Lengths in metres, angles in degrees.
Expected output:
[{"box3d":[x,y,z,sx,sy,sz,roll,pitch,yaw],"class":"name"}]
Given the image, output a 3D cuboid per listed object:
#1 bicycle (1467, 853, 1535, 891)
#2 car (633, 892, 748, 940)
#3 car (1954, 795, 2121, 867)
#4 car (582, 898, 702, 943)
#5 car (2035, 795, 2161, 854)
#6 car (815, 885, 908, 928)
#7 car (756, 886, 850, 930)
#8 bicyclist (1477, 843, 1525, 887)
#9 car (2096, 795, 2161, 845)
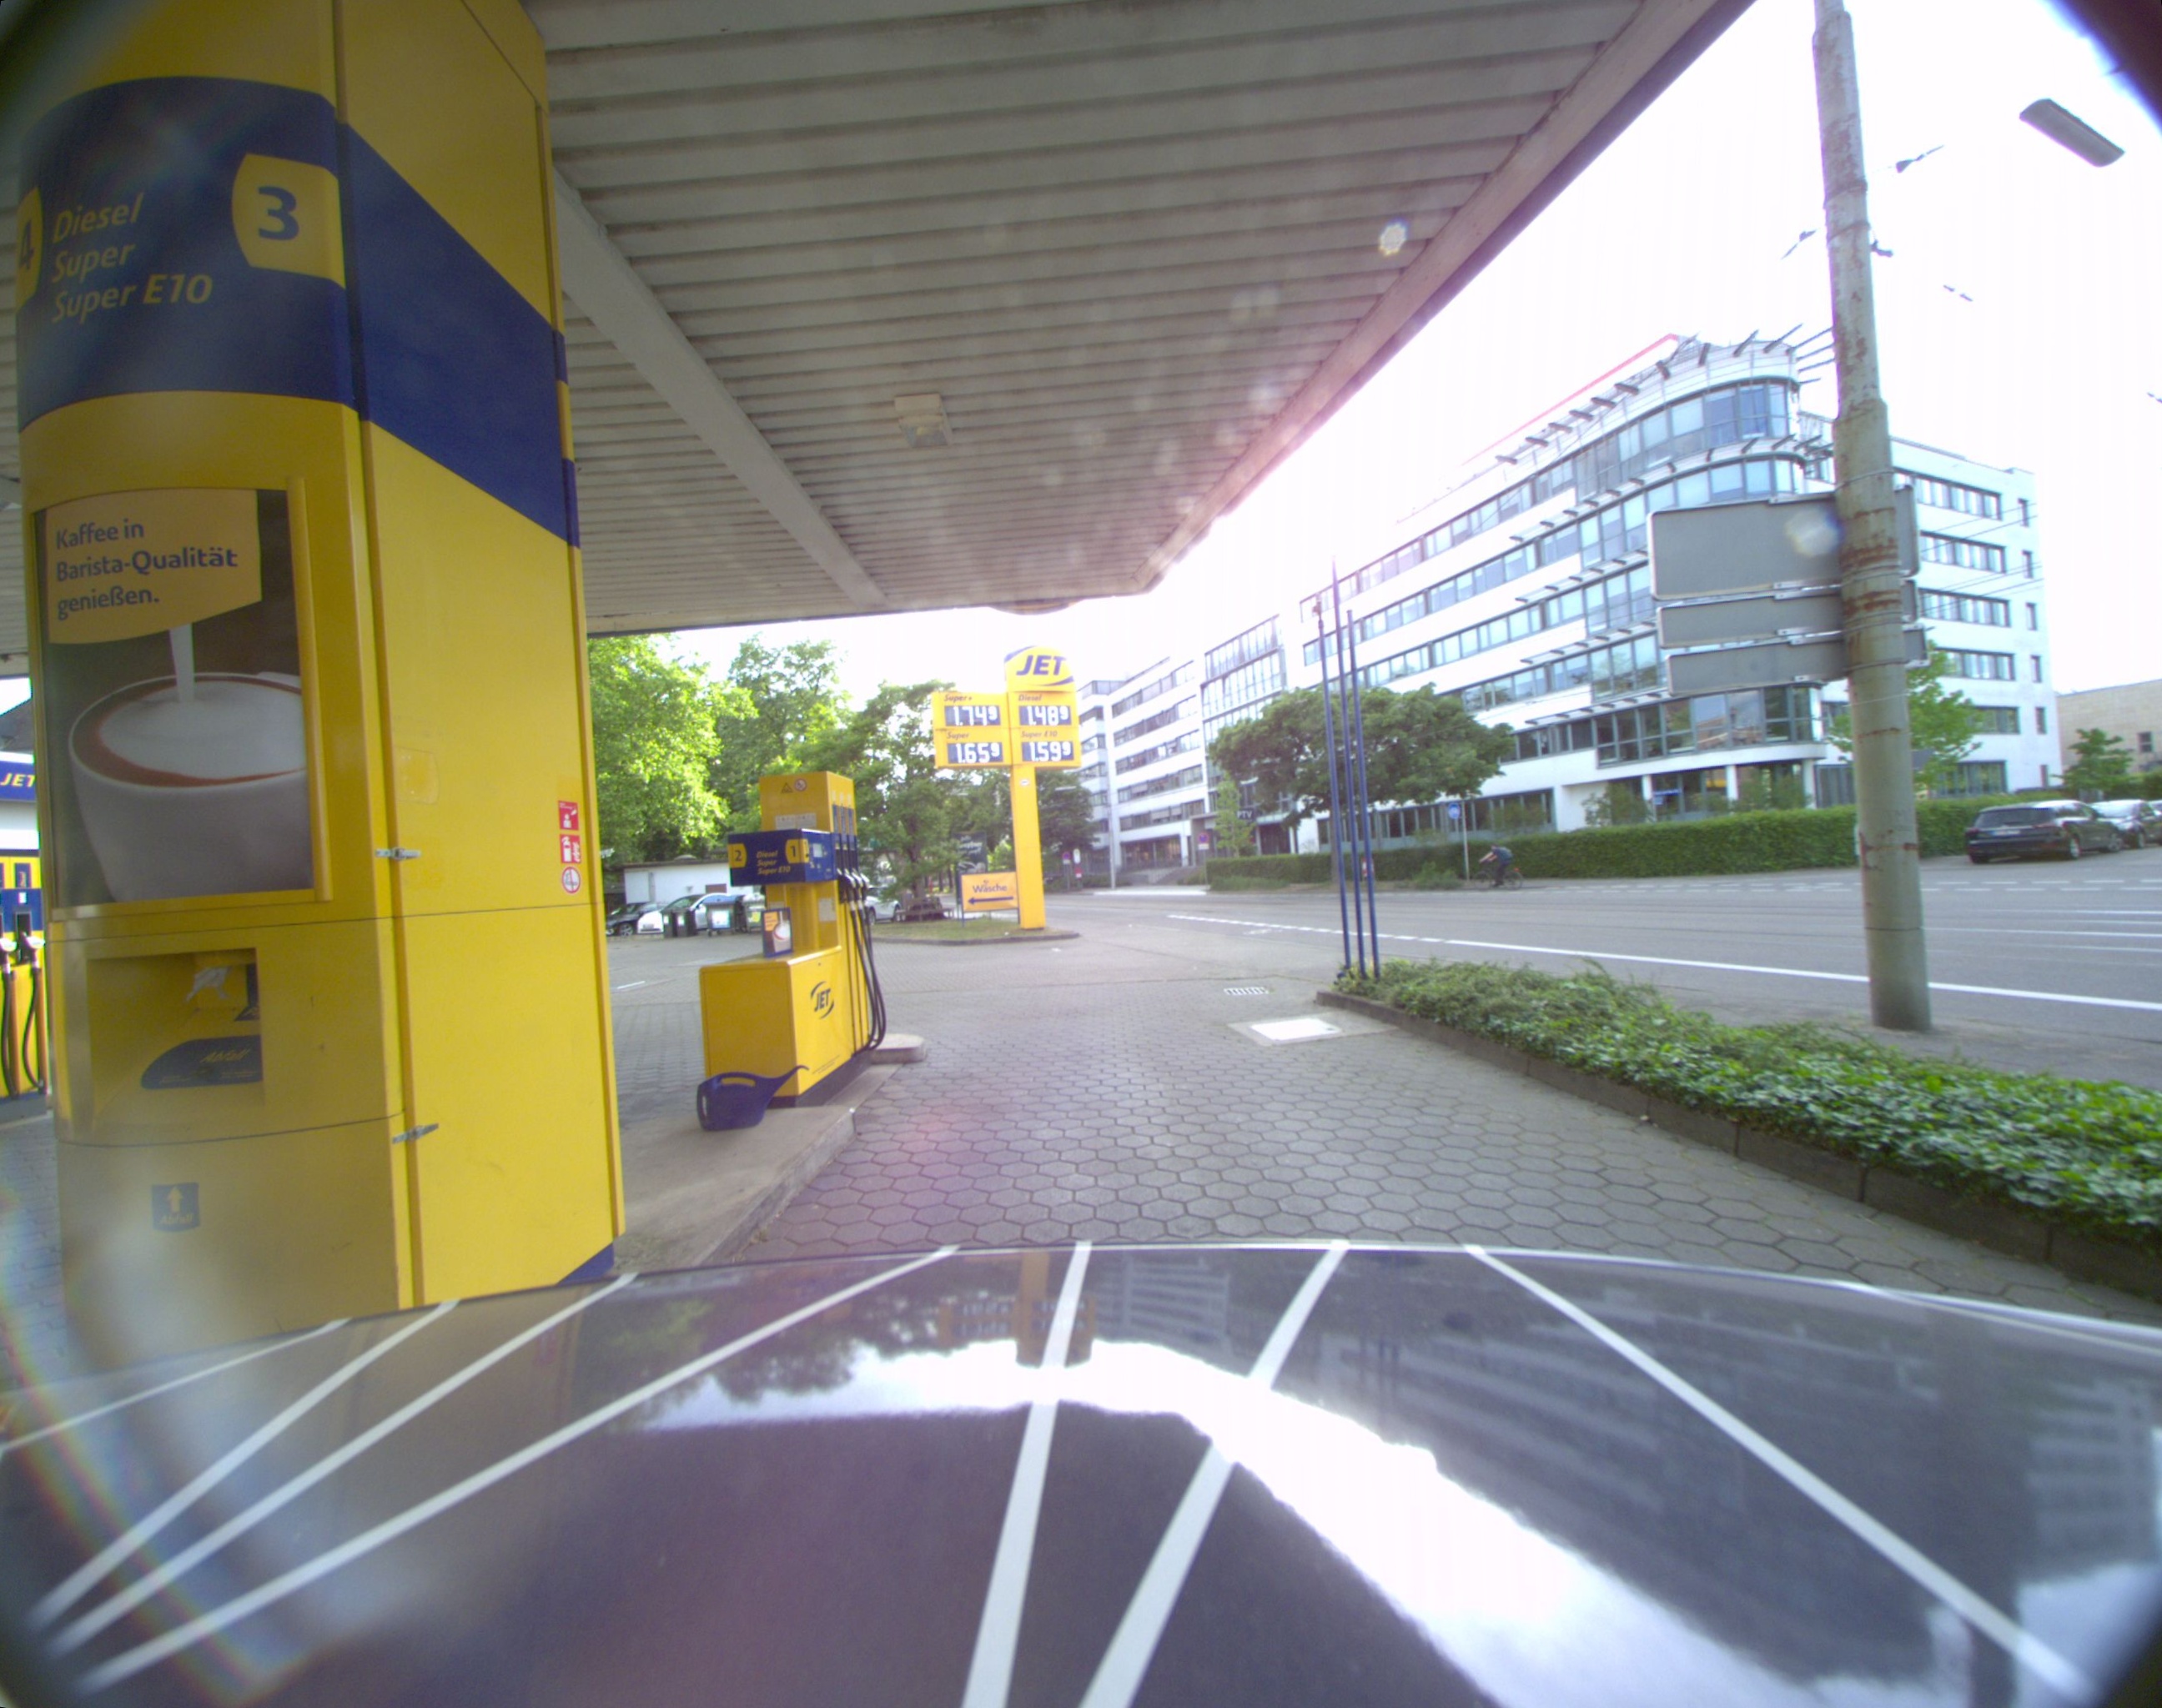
[{"box3d":[14.488,0.636,26.261,0.792,1.231,1.879,-3,0,-29],"class":"bicycle"},{"box3d":[-15.393,2.398,30.264,1.823,1.575,4.200,-4,-2,10],"class":"car"},{"box3d":[27.415,-0.662,21.765,4.397,1.678,1.820,-4,-1,-24],"class":"car"},{"box3d":[-17.538,2.616,30.618,1.823,1.426,4.200,-4,-2,10],"class":"car"},{"box3d":[32.574,-0.949,24.075,4.201,1.568,1.820,-4,-1,-24],"class":"car"},{"box3d":[-8.660,2.036,30.387,1.823,1.449,4.200,-4,-2,10],"class":"car"},{"box3d":[-11.750,2.253,32.475,1.823,1.575,4.200,-4,-2,10],"class":"car"},{"box3d":[14.476,0.384,26.206,0.792,1.442,1.174,-3,0,-29],"class":"bicyclist"},{"box3d":[37.103,-1.241,26.023,4.201,1.568,1.820,-4,-1,-24],"class":"car"}]
